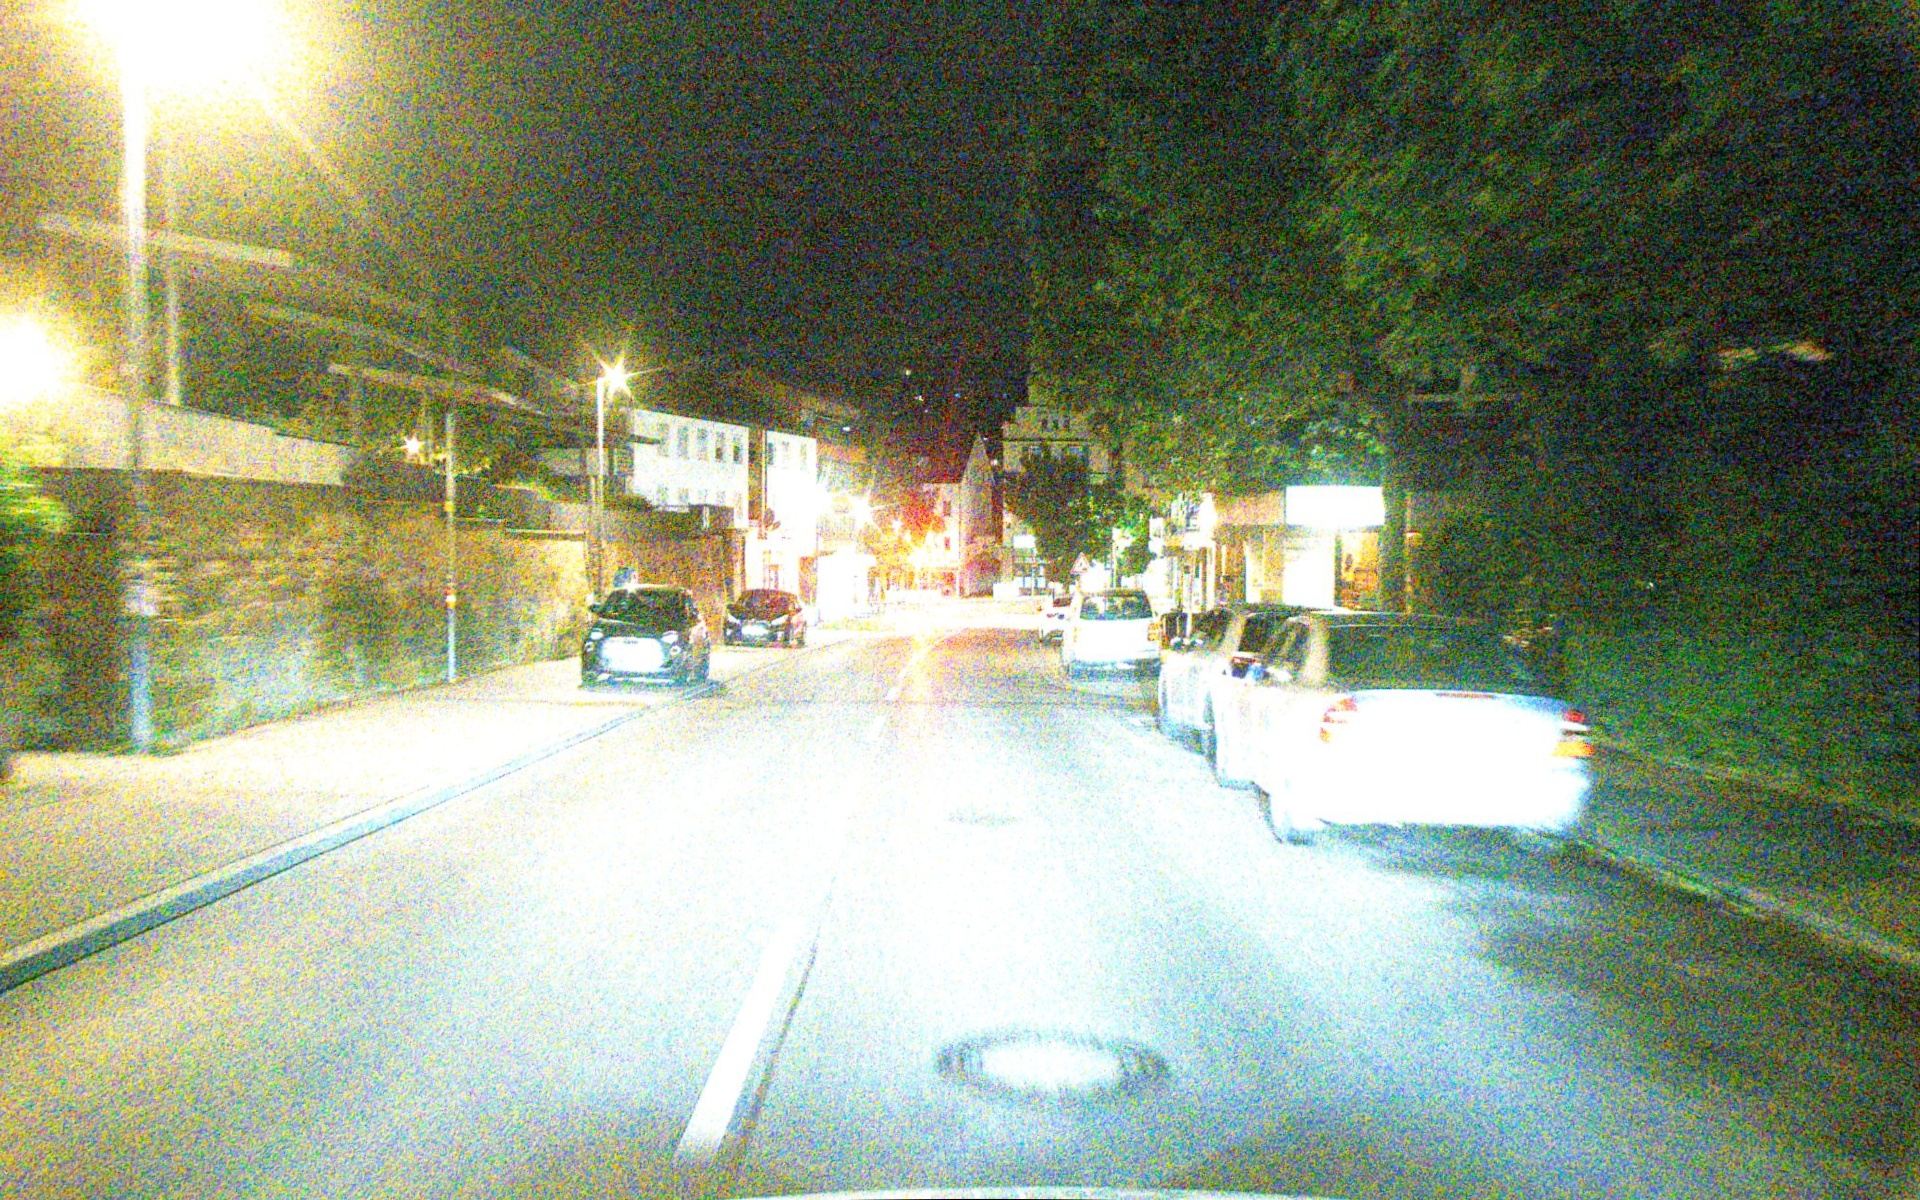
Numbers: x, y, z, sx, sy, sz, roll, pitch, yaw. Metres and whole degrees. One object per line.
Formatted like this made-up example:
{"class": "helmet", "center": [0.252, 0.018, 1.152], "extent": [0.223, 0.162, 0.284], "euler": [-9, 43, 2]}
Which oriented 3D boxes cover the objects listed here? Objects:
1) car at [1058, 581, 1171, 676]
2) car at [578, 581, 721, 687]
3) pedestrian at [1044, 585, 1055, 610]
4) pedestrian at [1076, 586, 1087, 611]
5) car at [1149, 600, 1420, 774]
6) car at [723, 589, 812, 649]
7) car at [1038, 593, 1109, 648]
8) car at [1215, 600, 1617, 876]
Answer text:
{"class": "car", "center": [2.895, 0.503, 31.778], "extent": [1.750, 1.670, 4.380], "euler": [-1, 0, 0]}
{"class": "car", "center": [-4.936, 0.534, 26.704], "extent": [1.657, 1.550, 3.690], "euler": [1, -1, -1]}
{"class": "pedestrian", "center": [6.731, -0.176, 124.720], "extent": [0.700, 1.827, 0.570], "euler": [1, -1, 12]}
{"class": "pedestrian", "center": [9.206, -0.100, 125.395], "extent": [0.700, 1.827, 0.738], "euler": [1, -1, 12]}
{"class": "car", "center": [3.110, 0.769, 16.738], "extent": [1.744, 1.462, 4.288], "euler": [2, 0, -2]}
{"class": "car", "center": [-5.057, 0.468, 43.841], "extent": [1.656, 1.461, 4.129], "euler": [2, 0, 2]}
{"class": "car", "center": [3.240, 0.558, 47.885], "extent": [1.819, 1.467, 4.595], "euler": [-1, 0, 1]}
{"class": "car", "center": [2.905, 0.770, 11.560], "extent": [1.642, 1.472, 4.612], "euler": [2, 0, 2]}
